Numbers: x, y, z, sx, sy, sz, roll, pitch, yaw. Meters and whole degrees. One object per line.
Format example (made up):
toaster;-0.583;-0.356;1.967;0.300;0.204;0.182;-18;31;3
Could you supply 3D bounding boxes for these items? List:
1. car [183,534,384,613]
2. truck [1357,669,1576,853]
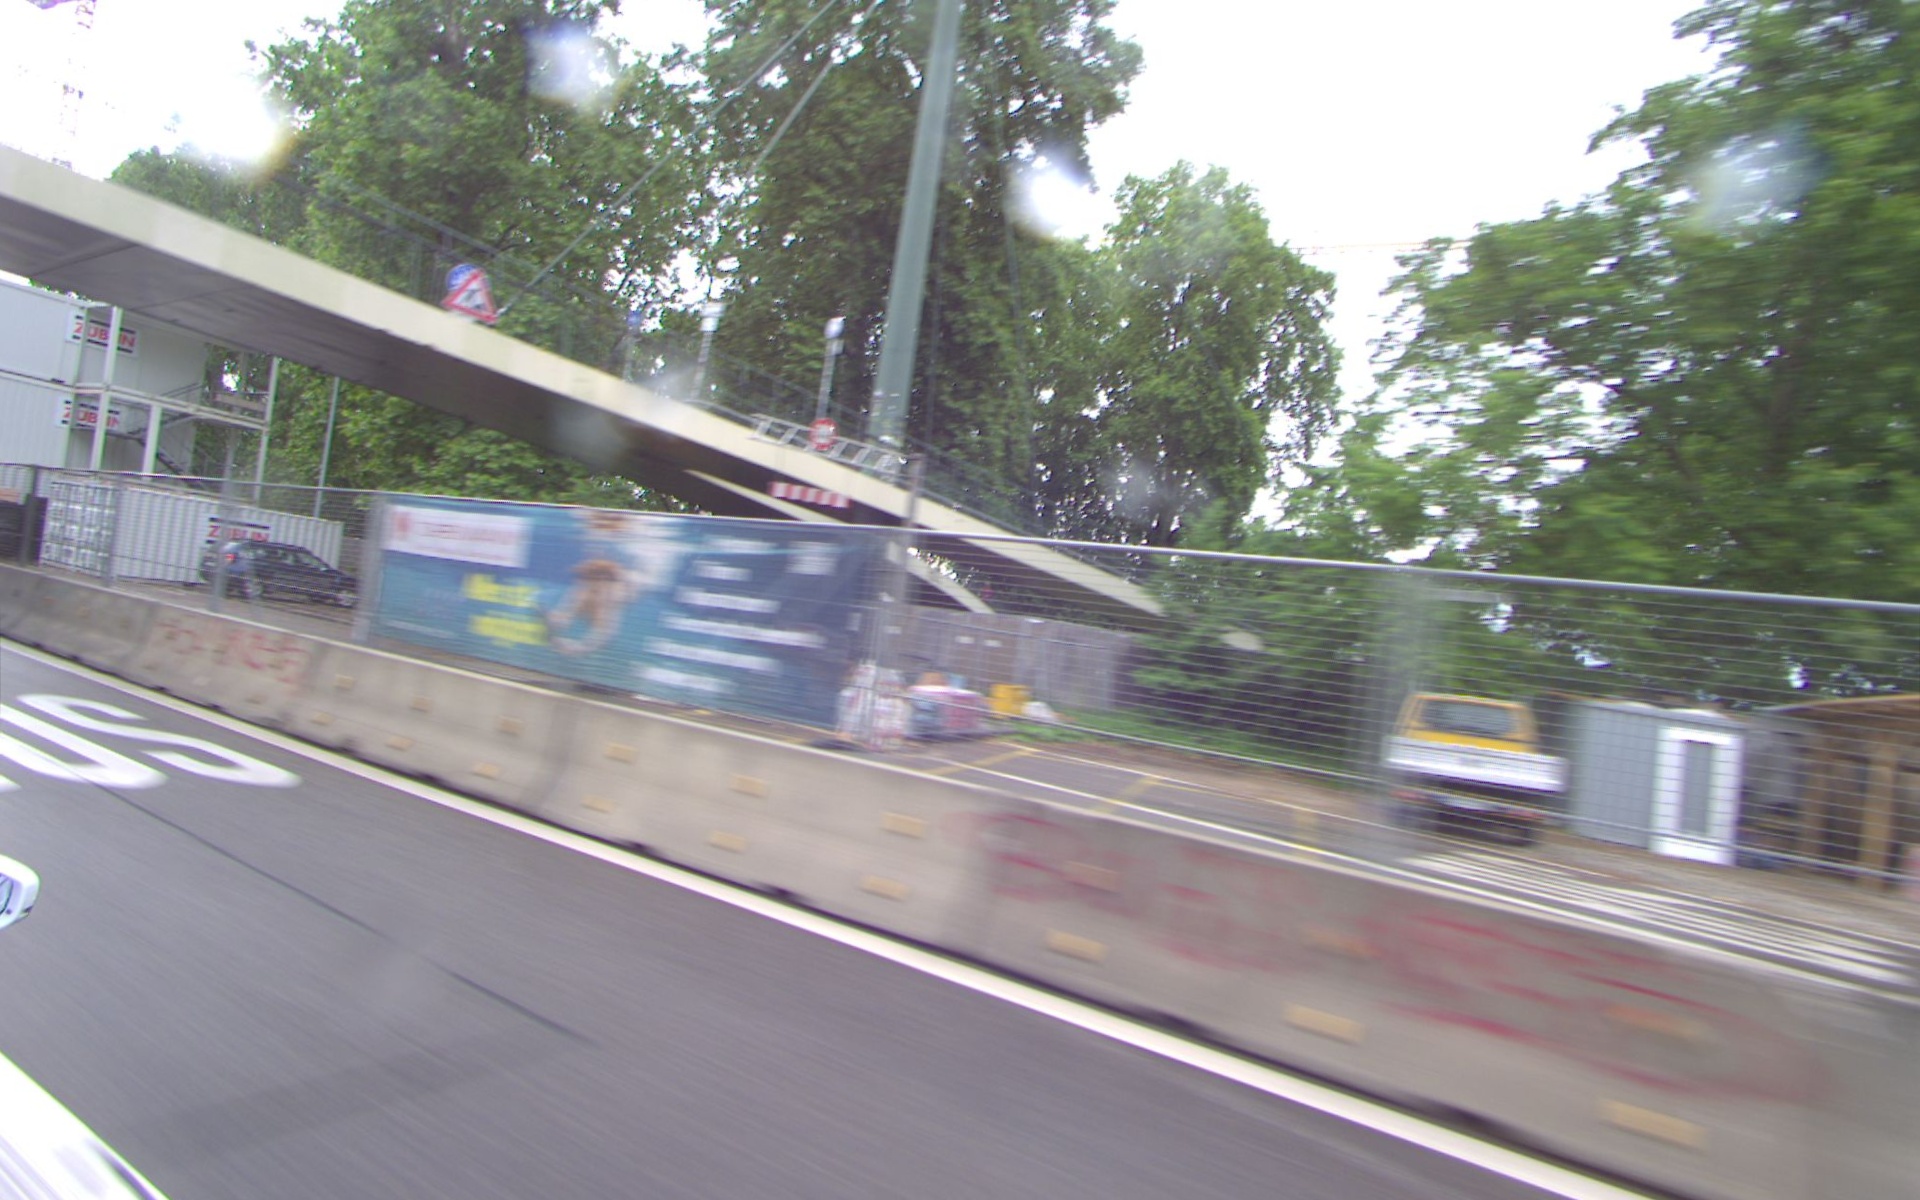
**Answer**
car;-20.016;-0.728;29.990;1.757;1.647;4.555;8;-2;28
truck;7.493;2.263;15.308;2.366;2.036;5.172;5;-3;24
